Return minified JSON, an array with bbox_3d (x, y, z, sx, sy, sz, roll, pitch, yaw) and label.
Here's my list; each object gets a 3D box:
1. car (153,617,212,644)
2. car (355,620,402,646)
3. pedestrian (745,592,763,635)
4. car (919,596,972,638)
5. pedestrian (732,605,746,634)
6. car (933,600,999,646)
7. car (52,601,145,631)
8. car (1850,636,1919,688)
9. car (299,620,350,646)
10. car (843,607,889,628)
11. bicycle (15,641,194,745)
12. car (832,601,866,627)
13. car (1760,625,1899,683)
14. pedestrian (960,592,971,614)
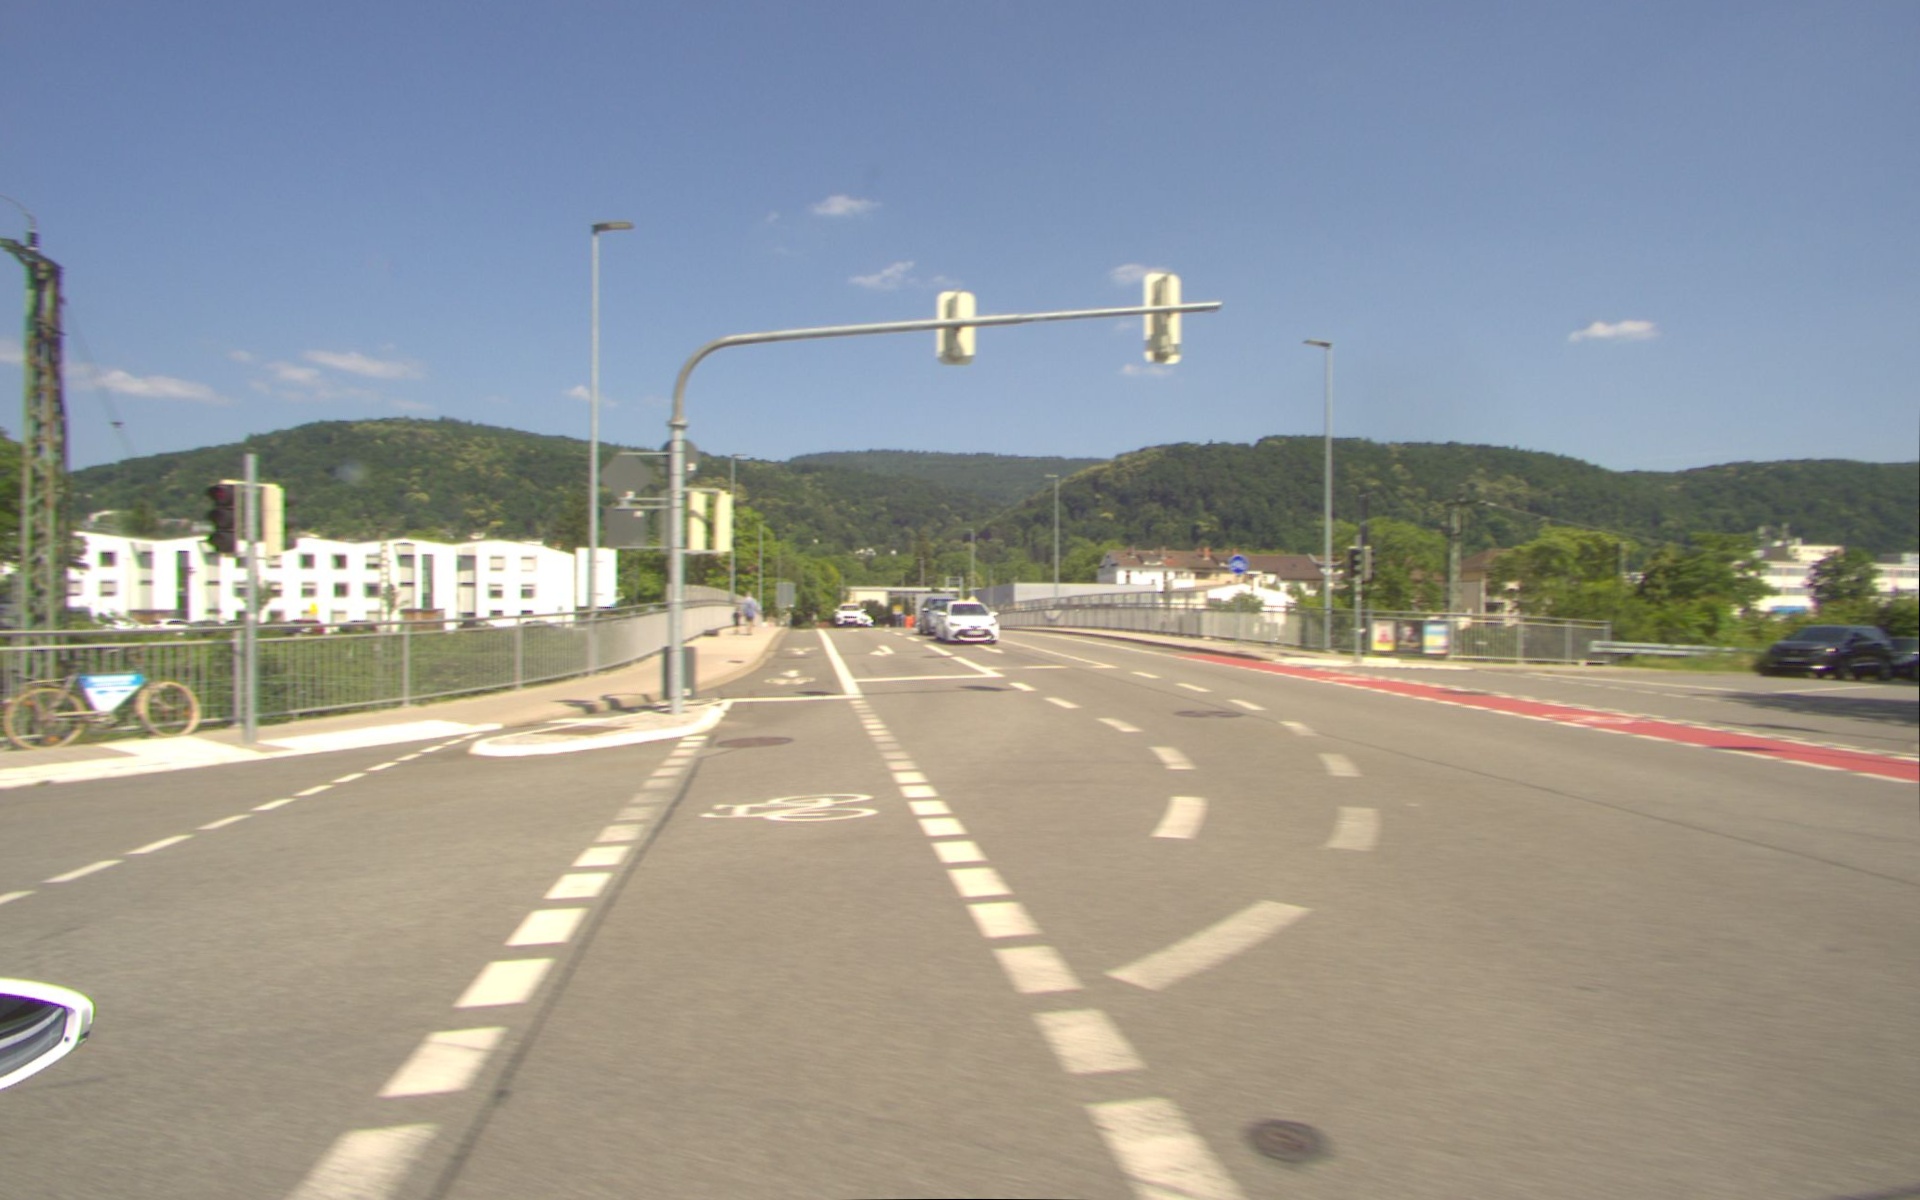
[{"bbox_3d":[-62.784,2.431,80.957,1.963,2.040,4.466,0,0,-11],"label":"car"},{"bbox_3d":[-47.584,2.695,82.006,1.963,2.040,4.466,0,0,-11],"label":"car"},{"bbox_3d":[-7.961,0.508,38.789,0.633,1.639,0.920,0,0,-9],"label":"pedestrian"},{"bbox_3d":[-0.675,0.685,41.492,1.703,1.648,4.441,0,0,-7],"label":"car"},{"bbox_3d":[-8.511,0.752,38.516,0.503,1.136,0.476,0,0,-9],"label":"pedestrian"},{"bbox_3d":[0.136,0.757,34.762,1.703,1.489,4.408,0,0,-7],"label":"car"},{"bbox_3d":[-63.996,1.175,74.471,4.917,2.140,1.990,1,0,-28],"label":"car"},{"bbox_3d":[30.856,1.976,32.468,3.939,1.553,1.666,1,0,-27],"label":"car"},{"bbox_3d":[-51.623,2.679,81.445,1.963,2.040,4.466,0,0,-11],"label":"car"},{"bbox_3d":[-8.118,1.519,86.182,1.972,1.742,5.035,0,0,-30],"label":"car"},{"bbox_3d":[-10.079,1.062,11.862,0.294,1.115,1.612,1,0,31],"label":"bicycle"},{"bbox_3d":[-7.612,0.948,68.232,1.963,1.742,4.629,0,0,-11],"label":"car"},{"bbox_3d":[26.362,1.584,30.347,4.174,1.649,1.822,1,0,-29],"label":"car"},{"bbox_3d":[0.478,0.320,93.476,0.842,2.040,1.154,0,0,-9],"label":"pedestrian"}]
